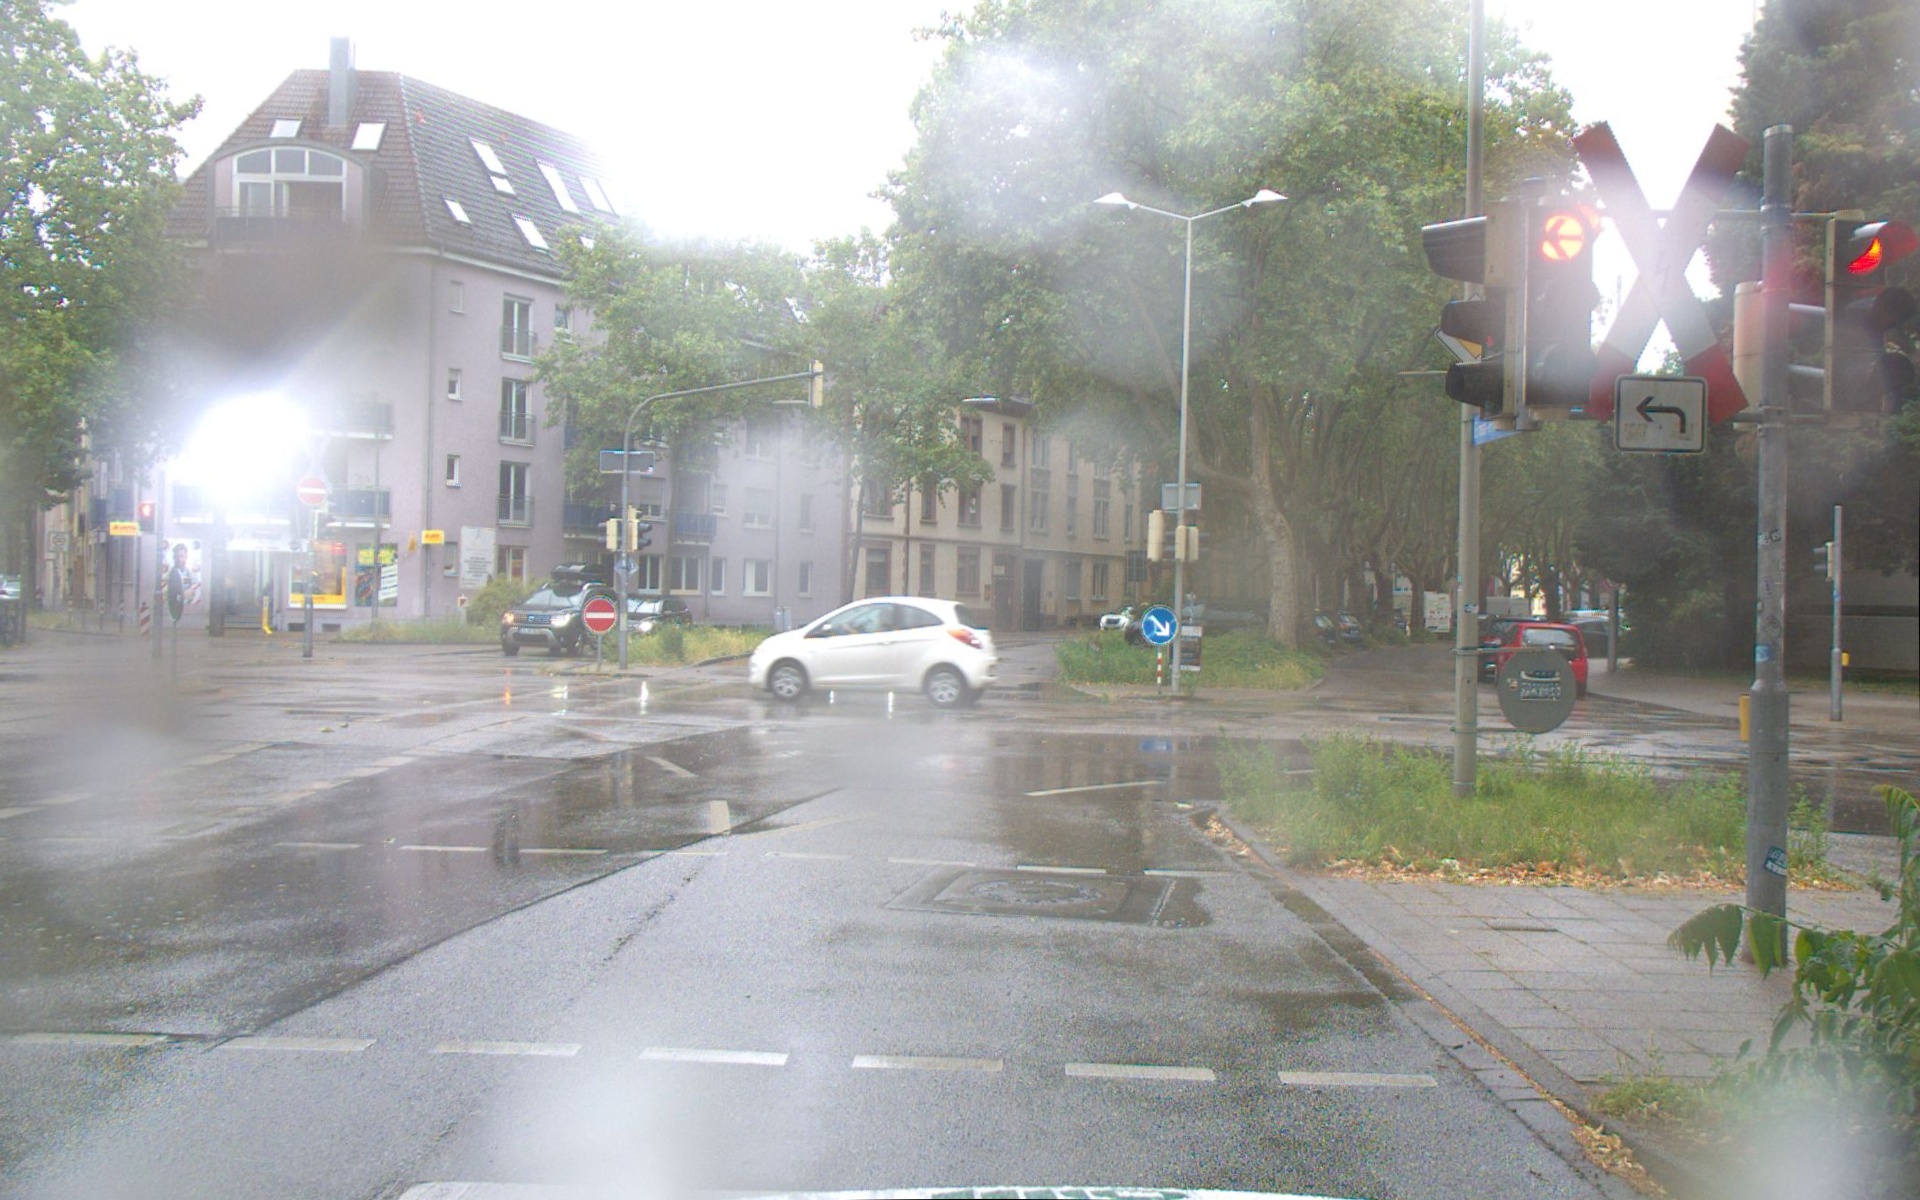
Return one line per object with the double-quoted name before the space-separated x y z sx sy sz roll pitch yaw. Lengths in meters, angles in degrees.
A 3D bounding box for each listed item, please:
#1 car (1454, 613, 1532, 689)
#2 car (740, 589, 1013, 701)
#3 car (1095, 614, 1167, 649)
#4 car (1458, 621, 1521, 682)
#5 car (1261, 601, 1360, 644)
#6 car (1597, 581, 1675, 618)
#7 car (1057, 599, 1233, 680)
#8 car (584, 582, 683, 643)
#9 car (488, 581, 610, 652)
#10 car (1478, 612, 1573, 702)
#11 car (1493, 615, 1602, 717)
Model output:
"car" 15.448 1.445 48.059 1.951 2.049 4.003 0 0 15
"car" -1.156 0.622 23.588 3.563 1.512 1.726 0 0 11
"car" 8.429 1.539 81.278 1.648 1.579 4.183 0 0 35
"car" 19.098 1.821 59.784 1.951 2.049 4.003 0 0 15
"car" 13.899 0.888 65.603 3.537 1.646 1.679 0 0 28
"car" 37.804 -0.042 92.595 3.903 2.049 1.708 0 0 19
"car" 3.697 0.769 33.010 3.405 1.550 1.521 0 0 8
"car" -8.784 0.310 44.731 1.688 1.579 3.562 0 0 5
"car" -9.529 0.355 38.617 1.688 1.579 3.562 0 0 5
"car" 13.959 1.358 41.035 1.951 2.049 4.003 0 0 15
"car" 12.938 1.395 36.623 1.951 2.049 4.003 0 0 15
